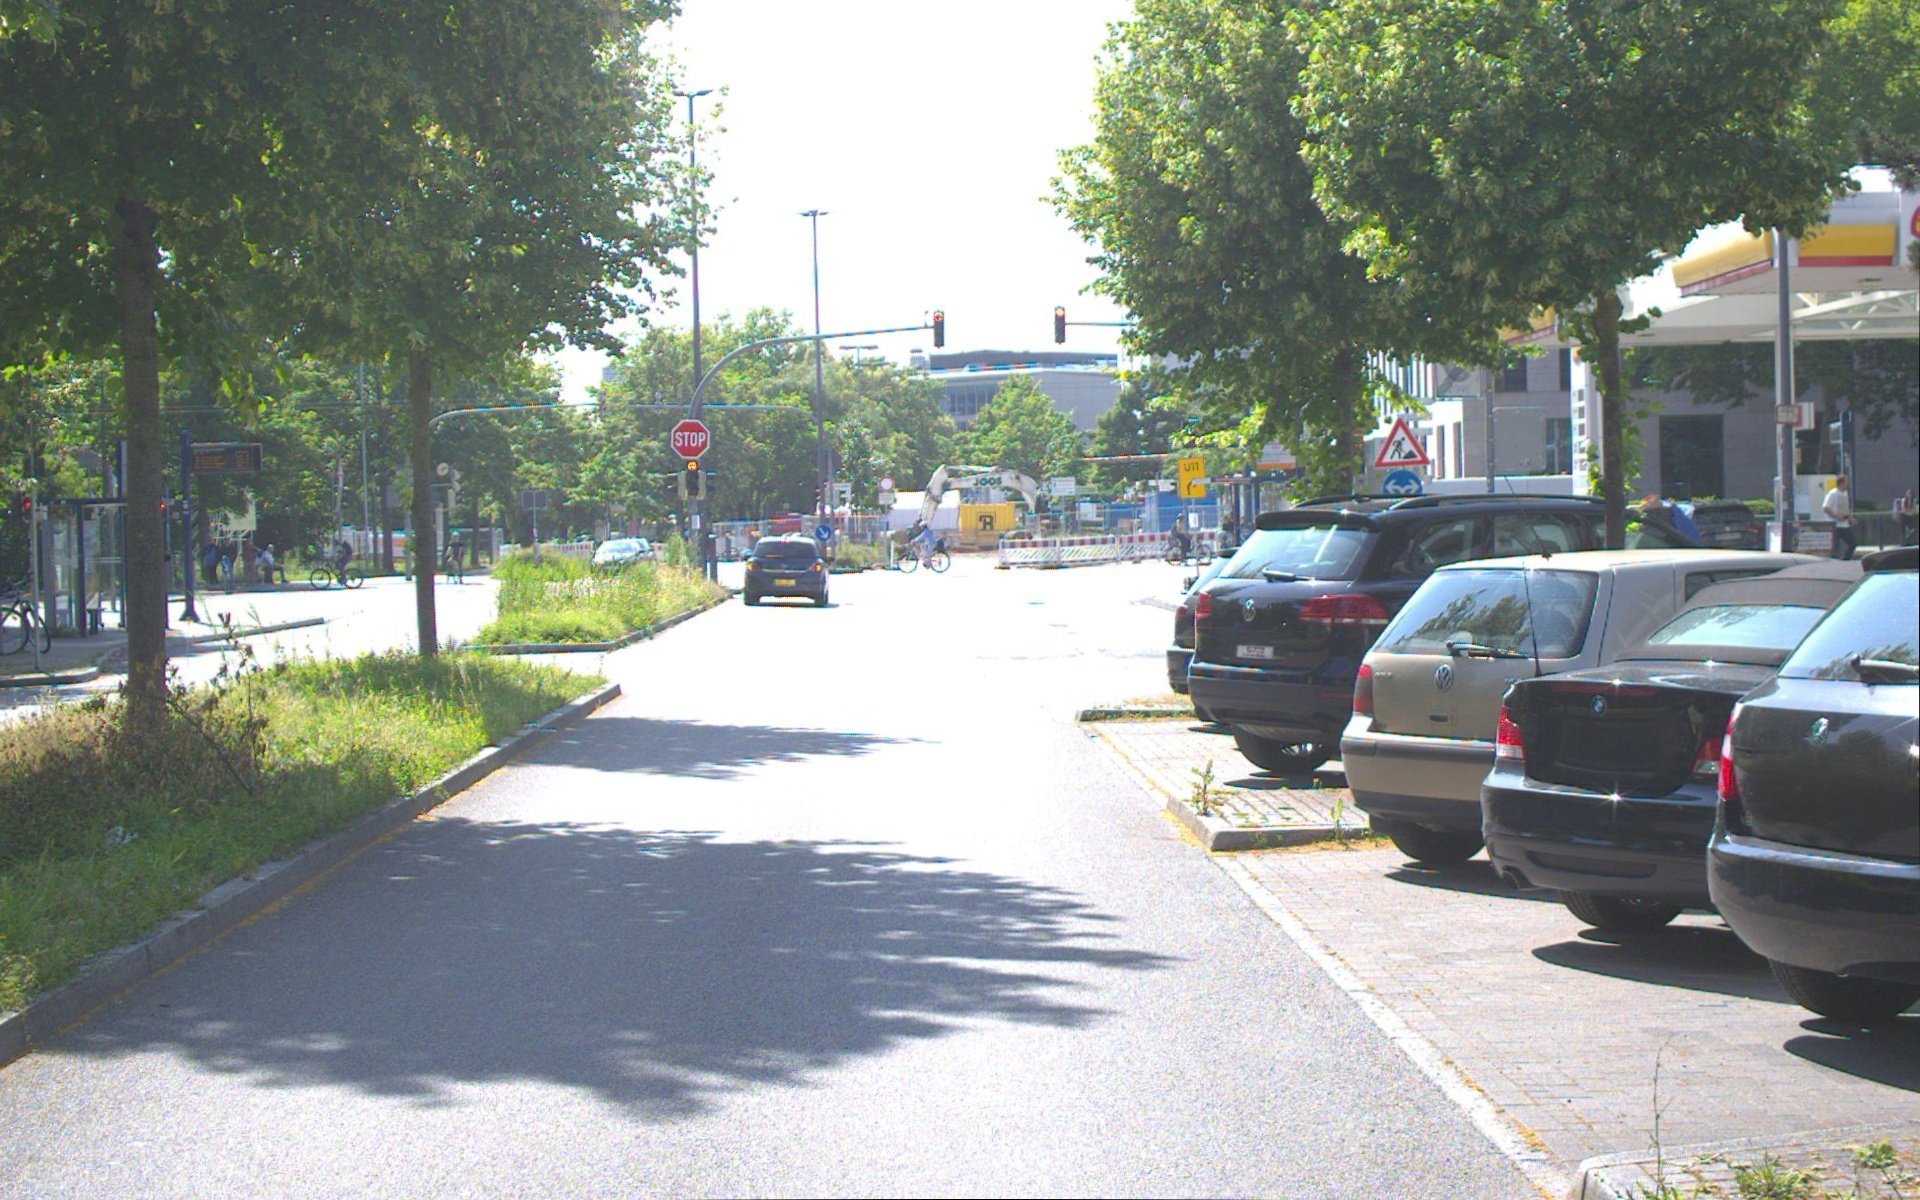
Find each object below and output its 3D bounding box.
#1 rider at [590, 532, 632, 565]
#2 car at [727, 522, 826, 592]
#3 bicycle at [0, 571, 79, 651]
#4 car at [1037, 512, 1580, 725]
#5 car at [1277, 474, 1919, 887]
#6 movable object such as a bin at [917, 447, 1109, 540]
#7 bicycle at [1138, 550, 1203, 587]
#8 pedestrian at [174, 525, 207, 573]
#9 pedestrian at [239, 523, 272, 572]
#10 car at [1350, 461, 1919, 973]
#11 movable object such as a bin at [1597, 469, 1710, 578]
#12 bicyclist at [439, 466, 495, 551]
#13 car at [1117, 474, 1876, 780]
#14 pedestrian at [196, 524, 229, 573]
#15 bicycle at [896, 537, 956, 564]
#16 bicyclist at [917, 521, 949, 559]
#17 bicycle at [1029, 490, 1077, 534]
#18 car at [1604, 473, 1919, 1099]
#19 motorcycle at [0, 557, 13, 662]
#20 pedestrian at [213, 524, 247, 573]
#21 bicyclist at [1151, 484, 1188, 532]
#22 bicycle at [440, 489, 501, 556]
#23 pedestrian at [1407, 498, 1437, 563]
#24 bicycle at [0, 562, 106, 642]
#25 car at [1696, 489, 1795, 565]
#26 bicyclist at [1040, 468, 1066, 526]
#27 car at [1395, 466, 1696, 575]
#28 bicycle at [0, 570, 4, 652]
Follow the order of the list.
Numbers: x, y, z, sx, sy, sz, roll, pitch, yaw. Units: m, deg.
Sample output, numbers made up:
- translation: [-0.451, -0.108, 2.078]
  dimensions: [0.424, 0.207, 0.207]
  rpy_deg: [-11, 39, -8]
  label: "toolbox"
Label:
- translation: [-13.027, -1.939, 128.422]
  dimensions: [1.391, 1.191, 2.698]
  rpy_deg: [-1, 2, -3]
  label: "rider"
- translation: [-3.930, -0.934, 73.158]
  dimensions: [1.993, 1.393, 4.001]
  rpy_deg: [-1, 2, -4]
  label: "car"
- translation: [-13.594, 0.160, 49.030]
  dimensions: [1.845, 1.102, 0.693]
  rpy_deg: [-1, 1, 0]
  label: "bicycle"
- translation: [2.855, 0.099, 27.760]
  dimensions: [4.105, 1.524, 1.999]
  rpy_deg: [-2, 2, -38]
  label: "car"
- translation: [3.605, 0.277, 15.301]
  dimensions: [3.986, 1.634, 1.753]
  rpy_deg: [-2, 1, -13]
  label: "car"
- translation: [2.697, -5.453, 175.959]
  dimensions: [9.675, 4.534, 3.164]
  rpy_deg: [-1, 2, 1]
  label: "movable object such as a bin"
- translation: [7.389, -1.104, 120.670]
  dimensions: [2.229, 1.280, 0.525]
  rpy_deg: [-1, 1, 8]
  label: "bicycle"
- translation: [-25.889, -1.716, 115.662]
  dimensions: [0.655, 1.606, 0.941]
  rpy_deg: [0, 1, 22]
  label: "pedestrian"
- translation: [-23.812, -1.775, 116.207]
  dimensions: [0.667, 1.606, 0.941]
  rpy_deg: [0, 1, 22]
  label: "pedestrian"
- translation: [3.642, 0.308, 12.780]
  dimensions: [3.986, 1.634, 1.753]
  rpy_deg: [-2, 2, -23]
  label: "car"
- translation: [10.741, -1.184, 53.317]
  dimensions: [1.307, 1.586, 1.396]
  rpy_deg: [-4, 2, -3]
  label: "movable object such as a bin"
- translation: [-17.236, -3.198, 120.321]
  dimensions: [1.599, 2.921, 2.353]
  rpy_deg: [-1, 1, -1]
  label: "bicyclist"
- translation: [3.409, 0.094, 21.391]
  dimensions: [4.731, 1.654, 1.753]
  rpy_deg: [-2, 2, -34]
  label: "car"
- translation: [-25.148, -1.733, 115.658]
  dimensions: [0.655, 1.606, 0.941]
  rpy_deg: [0, 1, 22]
  label: "pedestrian"
- translation: [-1.160, -1.671, 116.495]
  dimensions: [1.999, 0.880, 0.527]
  rpy_deg: [-1, 1, -3]
  label: "bicycle"
- translation: [-0.922, -2.039, 116.487]
  dimensions: [1.052, 1.270, 0.492]
  rpy_deg: [-1, 1, -3]
  label: "bicyclist"
- translation: [4.184, -3.979, 154.919]
  dimensions: [2.088, 1.955, 0.827]
  rpy_deg: [-1, 1, 5]
  label: "bicycle"
- translation: [4.147, 0.412, 10.249]
  dimensions: [3.986, 1.634, 1.801]
  rpy_deg: [-2, 2, -20]
  label: "car"
- translation: [-12.750, 0.134, 42.592]
  dimensions: [1.845, 1.280, 0.693]
  rpy_deg: [-1, 1, -7]
  label: "motorcycle"
- translation: [-24.406, -1.734, 114.917]
  dimensions: [0.655, 1.606, 0.941]
  rpy_deg: [0, 1, 22]
  label: "pedestrian"
- translation: [7.344, -3.233, 120.628]
  dimensions: [1.240, 1.667, 0.525]
  rpy_deg: [-1, 1, 8]
  label: "bicyclist"
- translation: [-17.235, -2.733, 121.152]
  dimensions: [1.599, 2.261, 4.000]
  rpy_deg: [-1, 1, -1]
  label: "bicycle"
- translation: [11.109, -1.679, 82.709]
  dimensions: [0.618, 1.538, 0.461]
  rpy_deg: [-1, 1, -2]
  label: "pedestrian"
- translation: [-13.522, 0.034, 50.329]
  dimensions: [1.845, 1.118, 0.693]
  rpy_deg: [-1, 1, 0]
  label: "bicycle"
- translation: [15.285, -1.430, 66.995]
  dimensions: [1.650, 1.393, 3.640]
  rpy_deg: [-1, 1, 10]
  label: "car"
- translation: [4.200, -4.646, 154.908]
  dimensions: [1.070, 2.565, 0.827]
  rpy_deg: [-1, 1, 5]
  label: "bicyclist"
- translation: [15.670, -2.155, 92.241]
  dimensions: [7.427, 2.665, 2.903]
  rpy_deg: [-2, 2, -4]
  label: "car"
- translation: [-13.700, 0.171, 45.529]
  dimensions: [1.845, 1.088, 0.693]
  rpy_deg: [-1, 1, 0]
  label: "bicycle"
